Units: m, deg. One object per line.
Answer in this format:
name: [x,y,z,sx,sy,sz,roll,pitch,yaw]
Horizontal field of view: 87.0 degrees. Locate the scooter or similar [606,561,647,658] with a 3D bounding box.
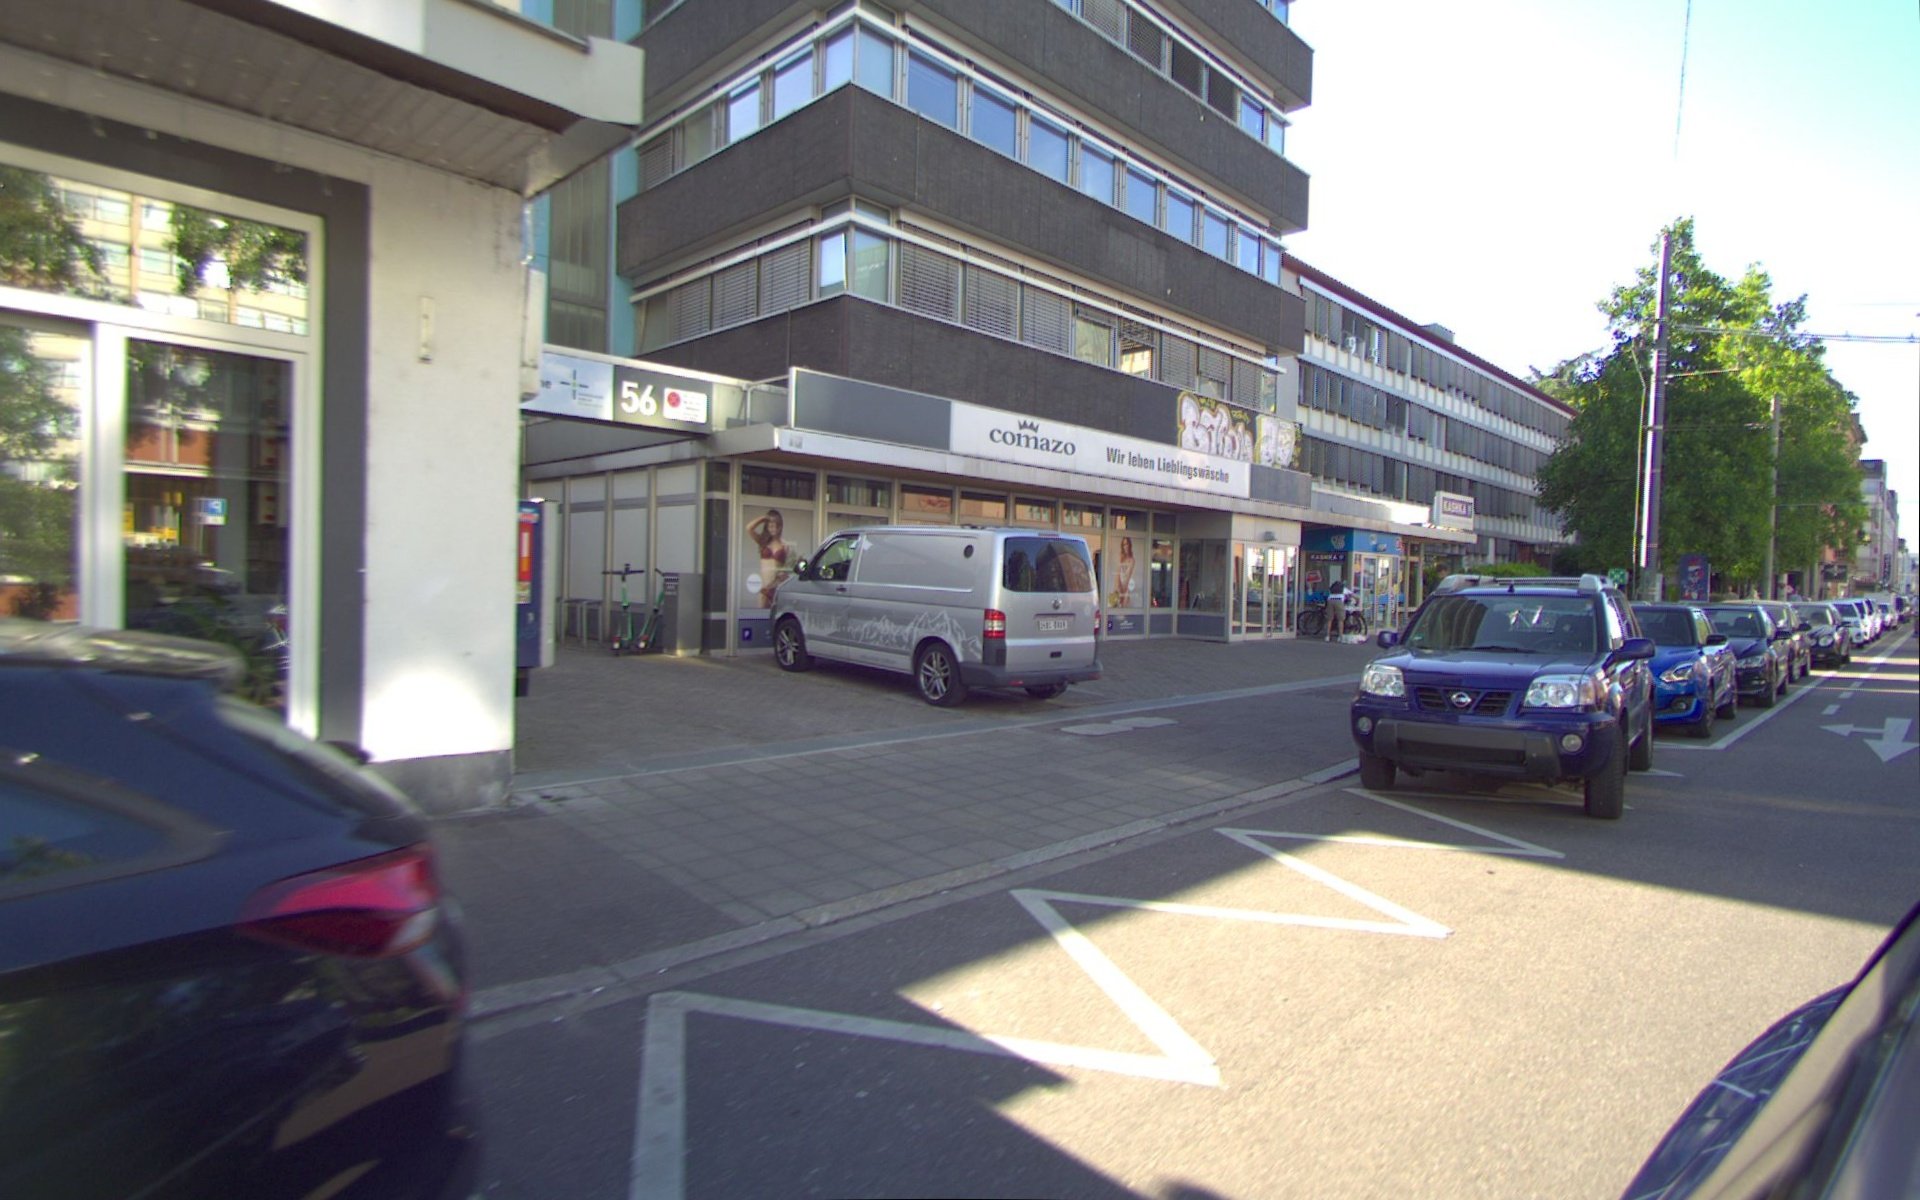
scooter or similar: [-4.631,0.112,14.038,0.351,1.282,1.208,-1,1,-26]

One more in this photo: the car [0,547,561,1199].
car: [-2.752,0.676,0.735,1.690,1.469,4.289,0,0,45]

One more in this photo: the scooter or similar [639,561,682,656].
scooter or similar: [-4.205,0.103,14.175,0.351,1.282,1.208,-1,1,-26]

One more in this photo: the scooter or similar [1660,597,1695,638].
scooter or similar: [22.954,0.541,32.375,1.291,1.224,0.581,-1,5,-44]

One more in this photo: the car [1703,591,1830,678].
car: [15.681,0.586,19.623,1.571,1.501,3.500,0,1,45]

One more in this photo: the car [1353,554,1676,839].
car: [4.856,0.561,8.494,1.686,1.735,4.552,0,0,38]

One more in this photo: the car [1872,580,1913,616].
car: [57.641,-0.155,62.555,1.729,2.075,4.050,0,2,45]

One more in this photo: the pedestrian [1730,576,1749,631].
pedestrian: [29.767,0.127,38.635,0.565,2.039,0.507,-1,1,-45]

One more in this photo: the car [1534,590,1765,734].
car: [8.536,0.629,12.413,1.714,1.473,3.717,0,1,45]

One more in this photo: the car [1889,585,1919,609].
car: [64.823,-0.221,69.211,1.729,1.501,4.186,0,2,45]

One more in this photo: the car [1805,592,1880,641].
car: [29.175,0.501,33.415,1.728,1.502,3.804,0,0,43]

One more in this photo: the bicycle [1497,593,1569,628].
bicycle: [17.318,0.307,30.604,1.809,0.933,0.400,5,4,43]

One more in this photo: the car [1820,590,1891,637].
car: [32.703,0.451,36.927,1.729,1.597,4.050,0,1,45]

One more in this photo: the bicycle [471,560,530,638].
bicycle: [-7.685,-0.027,16.963,0.352,1.262,1.205,-1,1,4]

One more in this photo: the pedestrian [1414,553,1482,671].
pedestrian: [8.279,0.185,17.163,1.045,1.935,0.685,-1,1,-42]

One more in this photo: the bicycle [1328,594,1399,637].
bicycle: [9.765,0.359,24.533,0.334,0.933,1.572,-1,3,-45]

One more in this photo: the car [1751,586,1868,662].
car: [19.987,0.480,23.721,1.729,1.501,4.851,0,2,45]

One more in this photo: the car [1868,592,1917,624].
car: [48.473,0.384,52.600,1.729,1.501,4.050,0,2,45]

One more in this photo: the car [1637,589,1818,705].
car: [11.852,0.610,15.526,1.699,1.501,4.159,0,1,45]

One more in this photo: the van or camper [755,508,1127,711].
van or camper: [-0.451,-0.064,12.398,1.965,1.956,4.704,0,4,-40]

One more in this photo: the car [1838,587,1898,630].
car: [36.628,0.300,40.854,1.728,1.615,4.053,0,1,42]

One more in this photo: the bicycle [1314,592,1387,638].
bicycle: [9.291,0.349,24.111,0.334,0.932,1.573,-1,6,-45]

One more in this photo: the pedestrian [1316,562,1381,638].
pedestrian: [9.119,-0.015,23.756,0.901,1.667,1.012,-1,6,-44]

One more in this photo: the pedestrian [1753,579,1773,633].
pedestrian: [30.186,0.220,38.055,0.565,2.039,0.507,-1,1,-45]
